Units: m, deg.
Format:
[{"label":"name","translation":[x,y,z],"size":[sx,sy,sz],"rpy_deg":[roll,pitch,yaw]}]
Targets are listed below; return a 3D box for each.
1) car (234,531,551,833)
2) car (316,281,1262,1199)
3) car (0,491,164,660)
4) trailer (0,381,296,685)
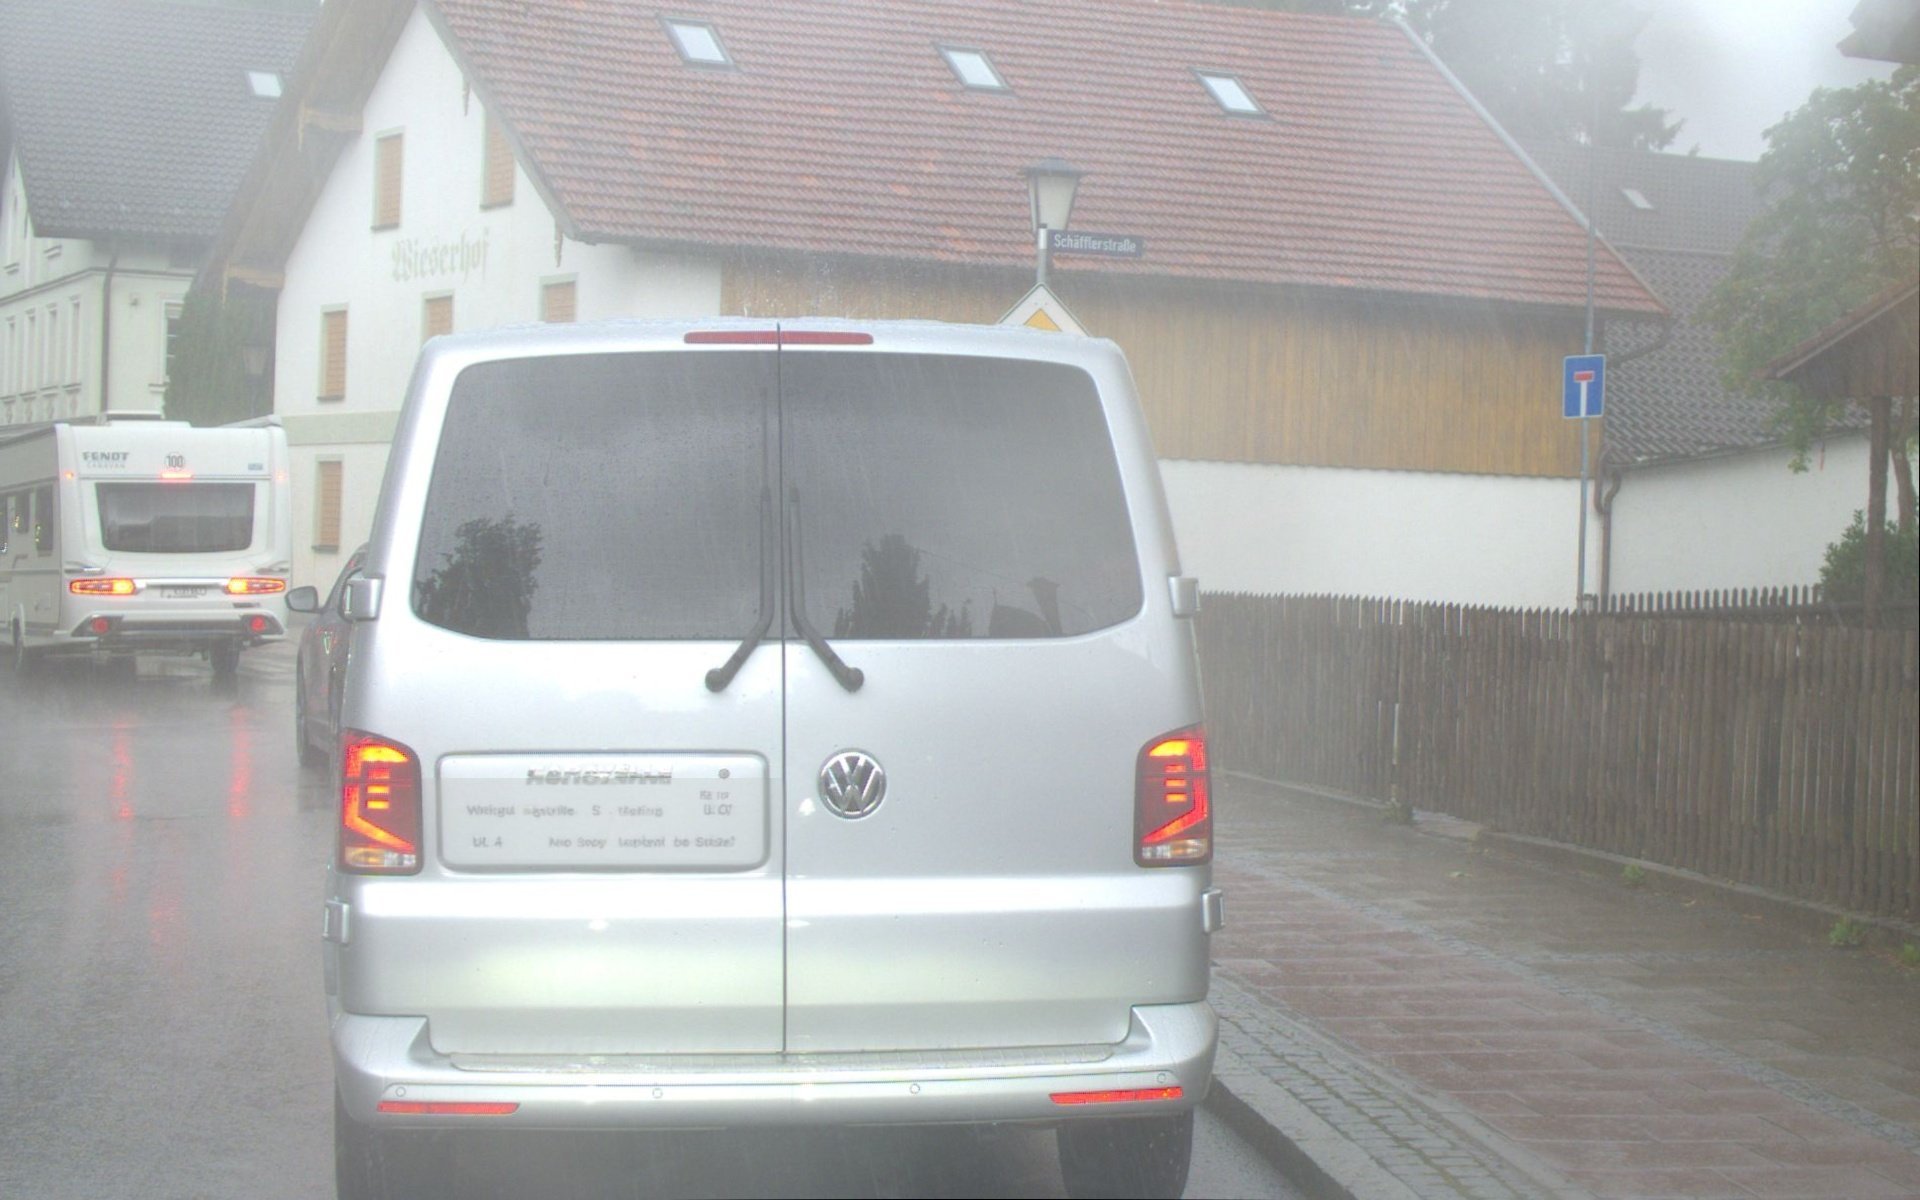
[{"label":"car","translation":[-3.605,0.406,21.434],"size":[1.708,1.578,4.687],"rpy_deg":[-1,2,-11]},{"label":"car","translation":[-0.419,0.344,9.013],"size":[1.776,1.956,5.075],"rpy_deg":[0,1,-2]},{"label":"car","translation":[-11.063,-0.318,41.170],"size":[2.053,1.892,5.177],"rpy_deg":[0,1,-24]},{"label":"trailer","translation":[-8.773,-0.692,35.986],"size":[2.270,2.894,6.134],"rpy_deg":[0,1,-24]}]
